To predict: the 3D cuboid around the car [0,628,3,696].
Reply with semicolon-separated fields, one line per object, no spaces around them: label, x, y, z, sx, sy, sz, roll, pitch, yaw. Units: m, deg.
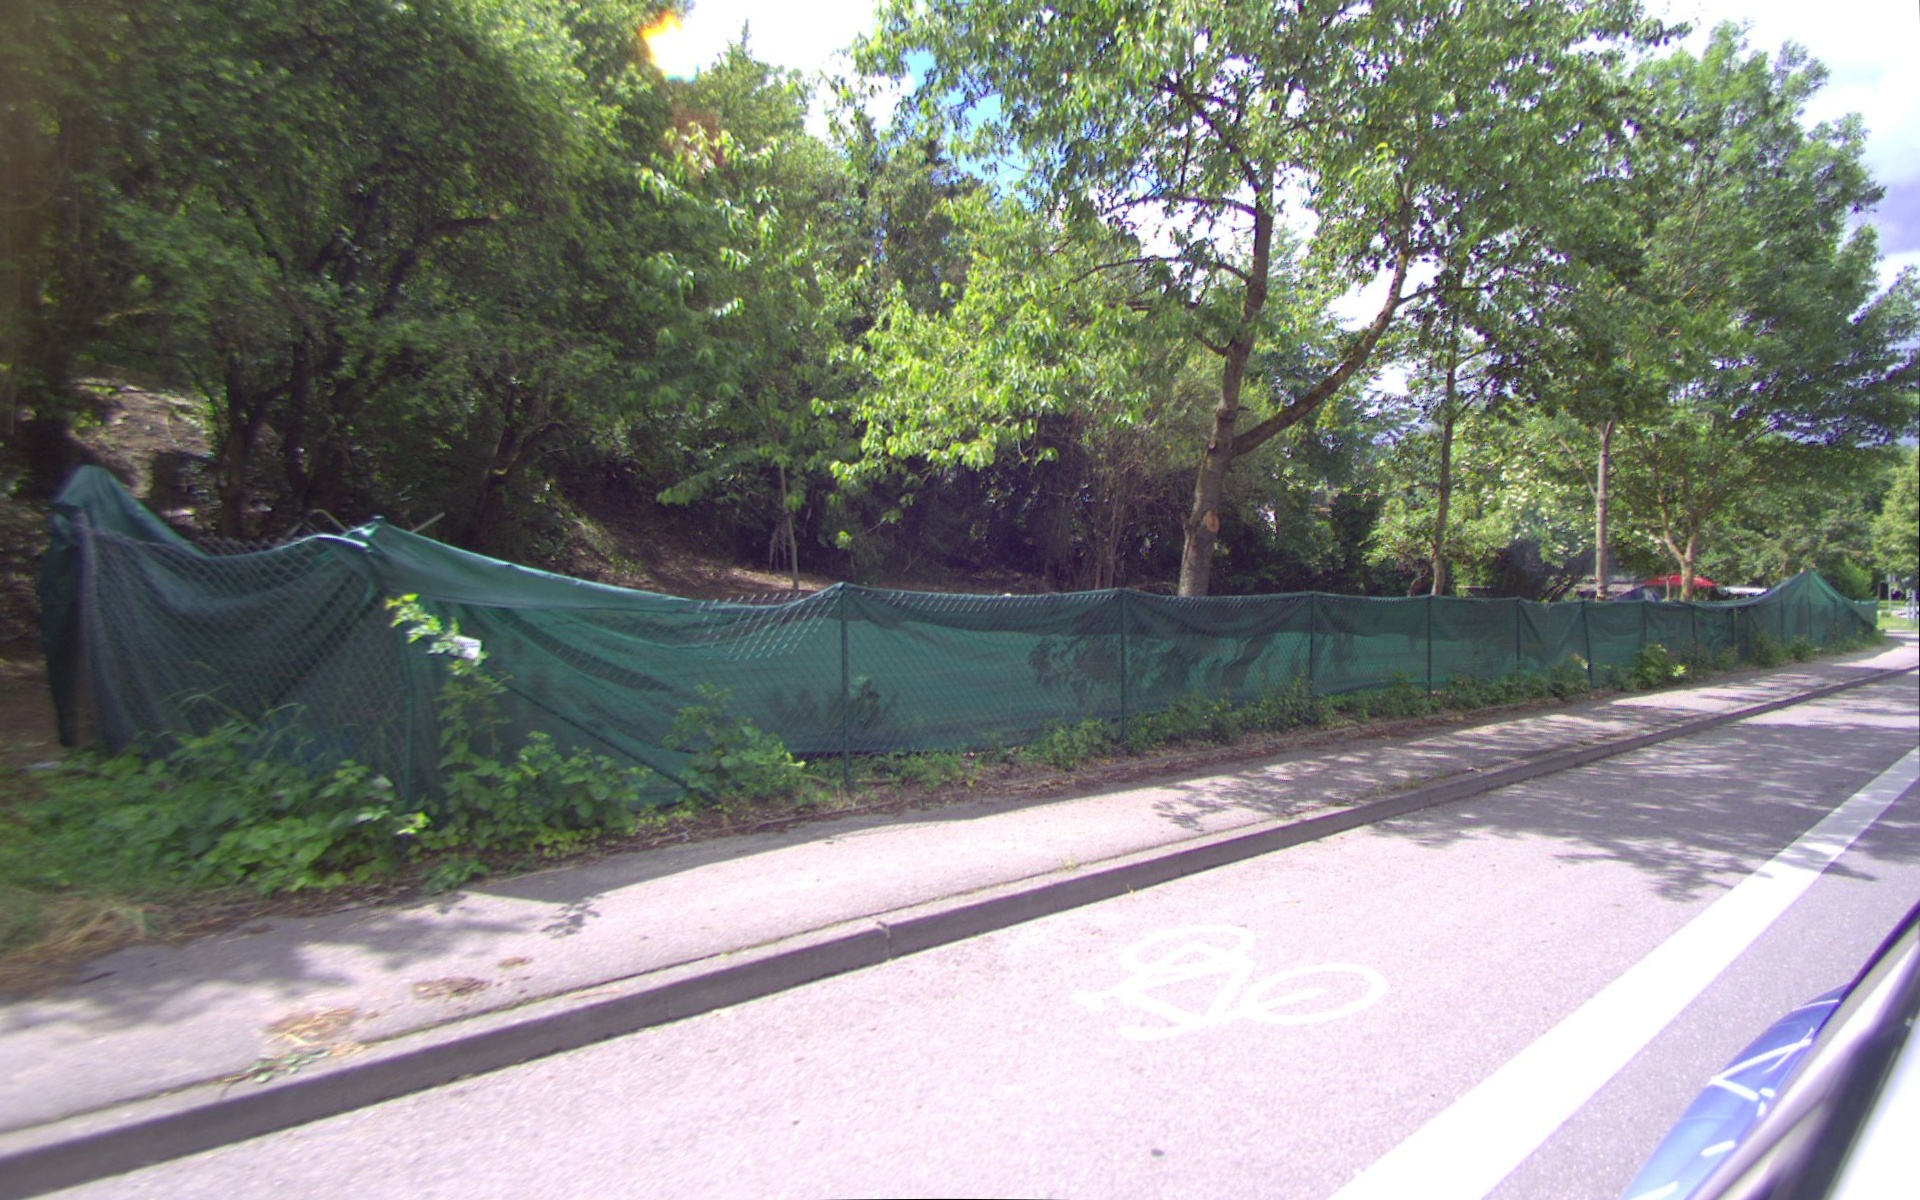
car;-6.510;0.049;5.032;1.963;1.691;4.540;-2;5;-37
